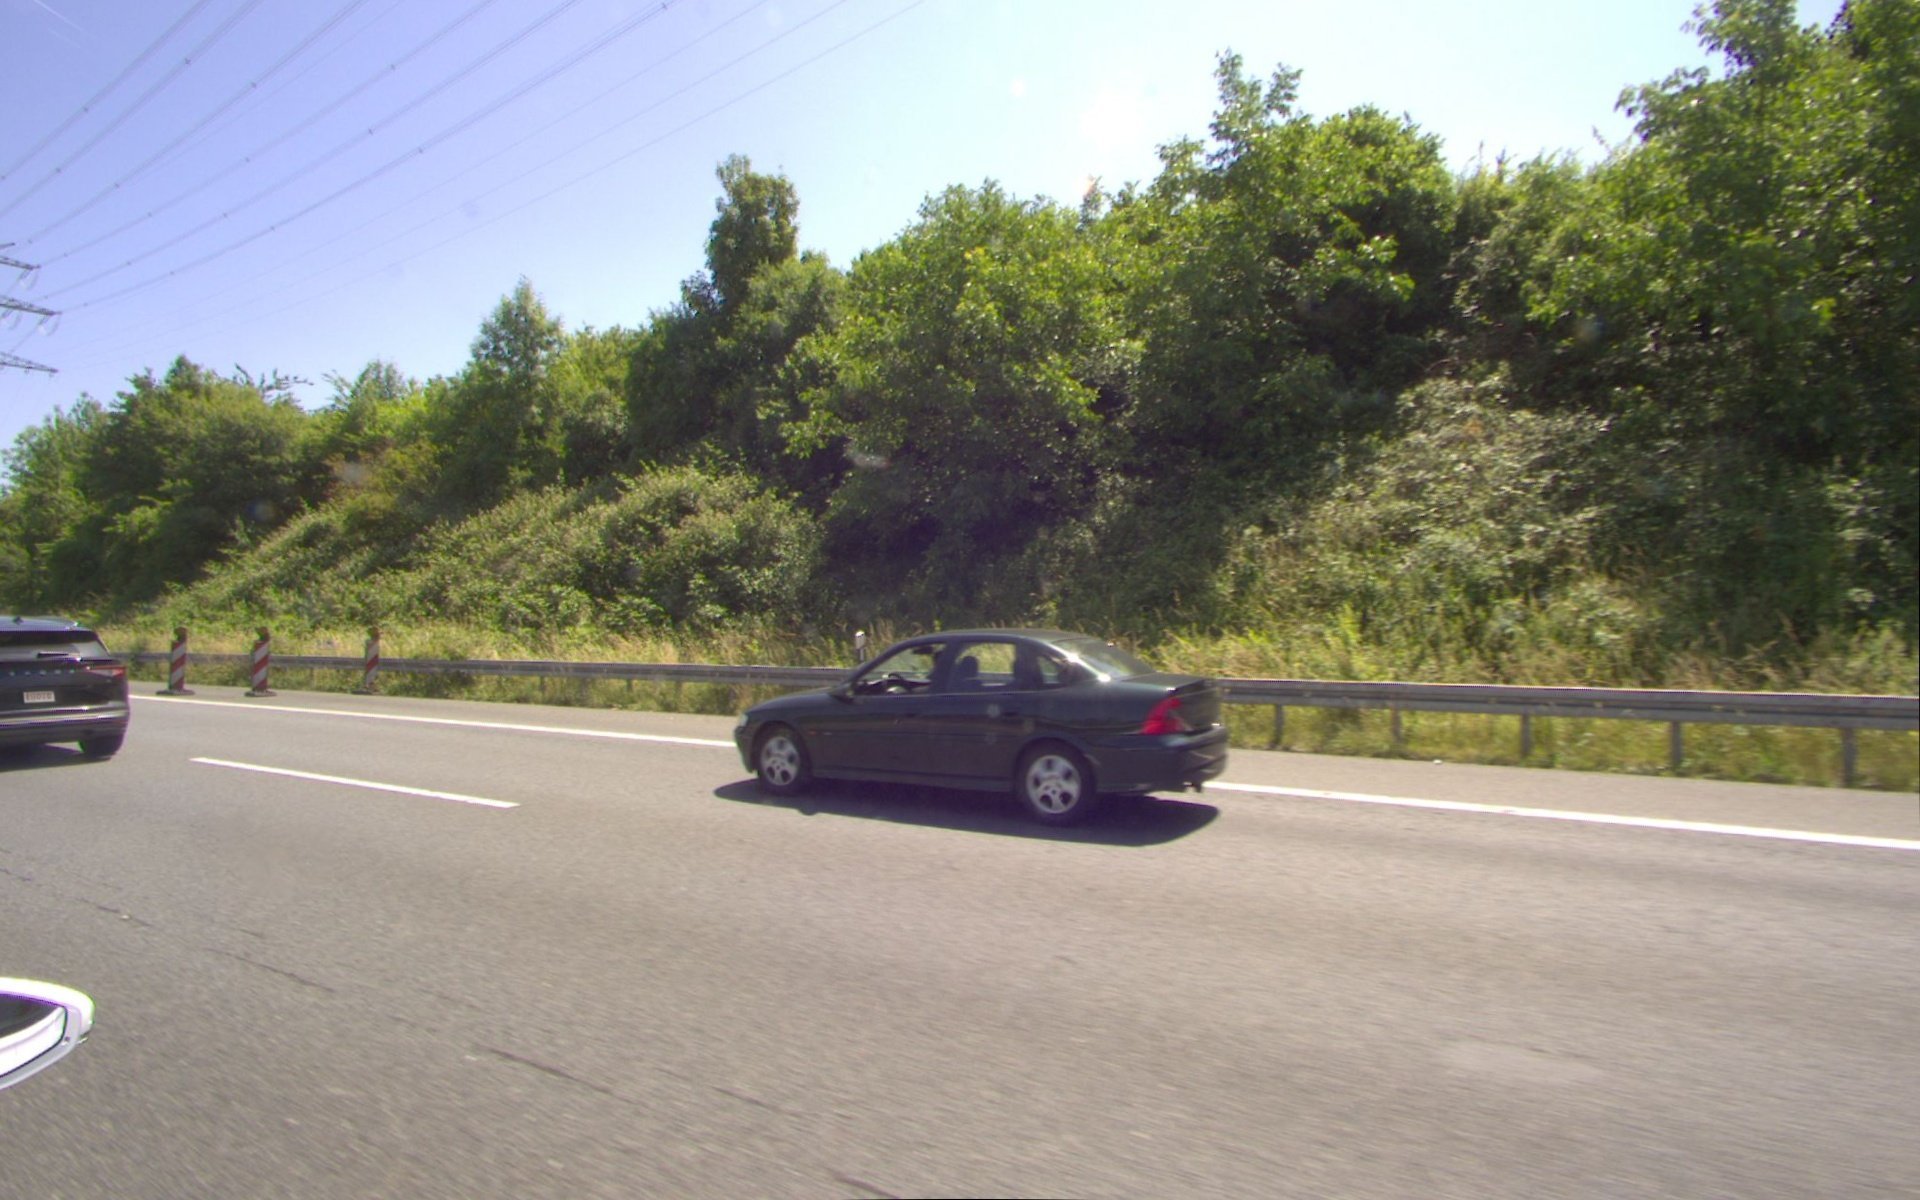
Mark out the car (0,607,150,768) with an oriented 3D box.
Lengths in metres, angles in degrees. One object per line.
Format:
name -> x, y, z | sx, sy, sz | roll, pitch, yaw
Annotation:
car -> -11.468, 0.926, 11.658 | 4.366, 1.635, 1.825 | -1, -1, 32

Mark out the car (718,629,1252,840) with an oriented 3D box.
car -> 0.117, 0.955, 8.478 | 4.239, 1.395, 1.732 | -1, -2, 31
